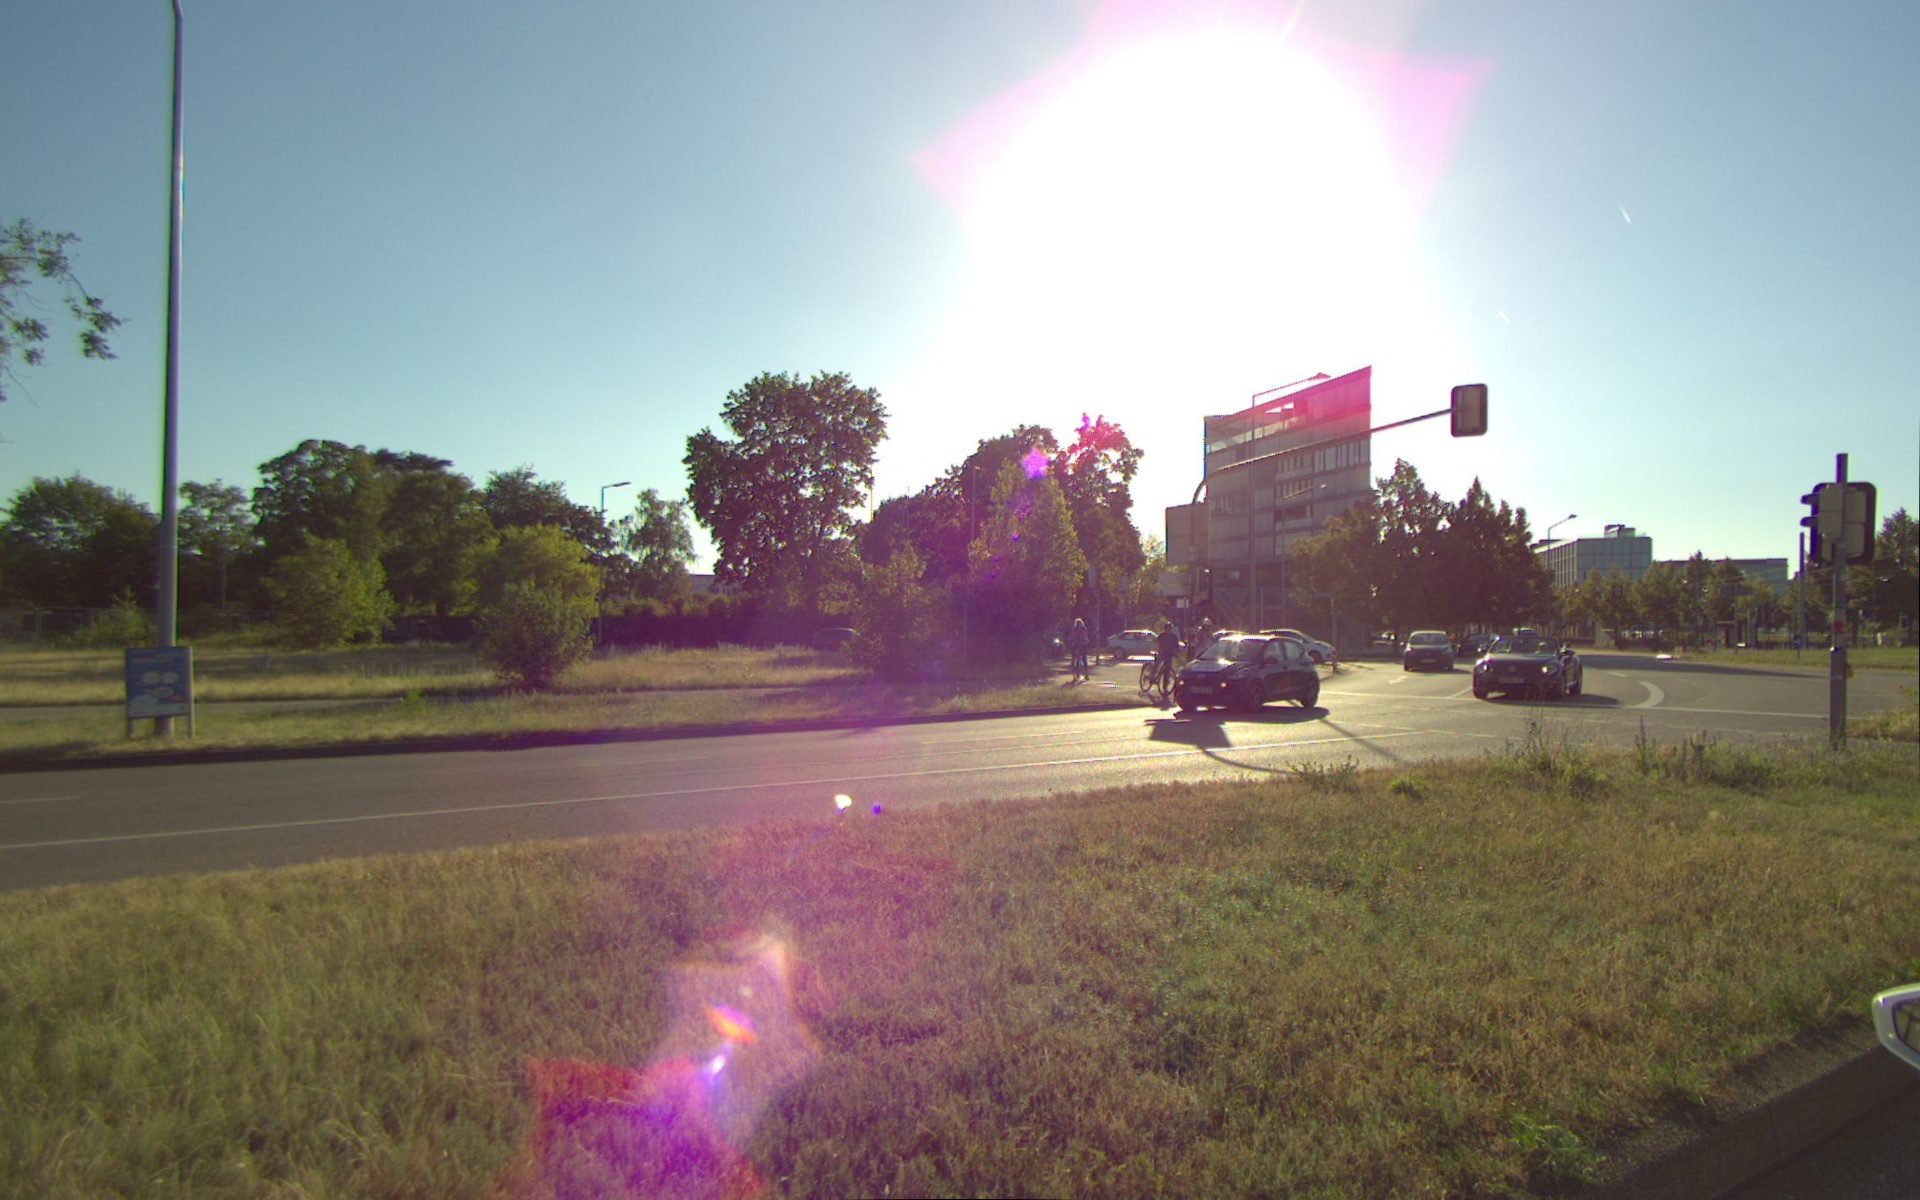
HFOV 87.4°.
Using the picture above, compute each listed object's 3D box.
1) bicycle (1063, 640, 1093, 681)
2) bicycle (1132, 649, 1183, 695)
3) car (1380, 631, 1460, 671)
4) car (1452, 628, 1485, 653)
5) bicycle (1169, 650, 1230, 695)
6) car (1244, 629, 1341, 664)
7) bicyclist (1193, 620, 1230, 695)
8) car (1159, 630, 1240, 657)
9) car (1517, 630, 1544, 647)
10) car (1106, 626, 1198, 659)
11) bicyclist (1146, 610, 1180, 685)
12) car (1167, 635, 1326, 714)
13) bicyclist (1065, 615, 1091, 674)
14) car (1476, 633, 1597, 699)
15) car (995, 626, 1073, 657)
[{"bbox_3d":[3.474,1.768,29.525,0.711,1.133,1.825,0,-2,12],"label":"bicycle"},{"bbox_3d":[4.902,1.772,25.062,0.496,1.033,1.909,1,0,-14],"label":"bicycle"},{"bbox_3d":[16.872,1.842,36.739,1.648,1.394,3.759,-2,-3,41],"label":"car"},{"bbox_3d":[30.044,2.374,59.377,1.480,1.473,3.461,0,-2,23],"label":"car"},{"bbox_3d":[6.094,1.824,25.622,0.497,1.033,1.904,1,0,-22],"label":"bicycle"},{"bbox_3d":[15.212,2.104,46.037,3.909,1.528,1.843,-1,-2,33],"label":"car"},{"bbox_3d":[6.293,1.425,25.149,0.489,1.812,0.811,1,0,-21],"label":"bicyclist"},{"bbox_3d":[13.824,2.509,58.059,4.225,1.528,1.875,0,-1,-3],"label":"car"},{"bbox_3d":[69.236,4.683,121.886,1.960,2.040,4.002,0,-2,16],"label":"car"},{"bbox_3d":[9.406,2.066,49.182,4.223,1.528,1.876,0,-1,18],"label":"car"},{"bbox_3d":[4.990,1.164,24.763,0.488,1.794,0.813,1,0,-14],"label":"bicyclist"},{"bbox_3d":[5.930,1.461,20.588,1.650,1.460,3.594,-3,-3,44],"label":"car"},{"bbox_3d":[3.465,1.295,29.458,0.696,1.688,0.831,0,-1,12],"label":"bicyclist"},{"bbox_3d":[13.525,1.490,23.464,1.648,1.394,4.128,-2,-3,41],"label":"car"},{"bbox_3d":[3.796,2.085,51.308,3.635,1.528,1.876,0,-1,18],"label":"car"}]
